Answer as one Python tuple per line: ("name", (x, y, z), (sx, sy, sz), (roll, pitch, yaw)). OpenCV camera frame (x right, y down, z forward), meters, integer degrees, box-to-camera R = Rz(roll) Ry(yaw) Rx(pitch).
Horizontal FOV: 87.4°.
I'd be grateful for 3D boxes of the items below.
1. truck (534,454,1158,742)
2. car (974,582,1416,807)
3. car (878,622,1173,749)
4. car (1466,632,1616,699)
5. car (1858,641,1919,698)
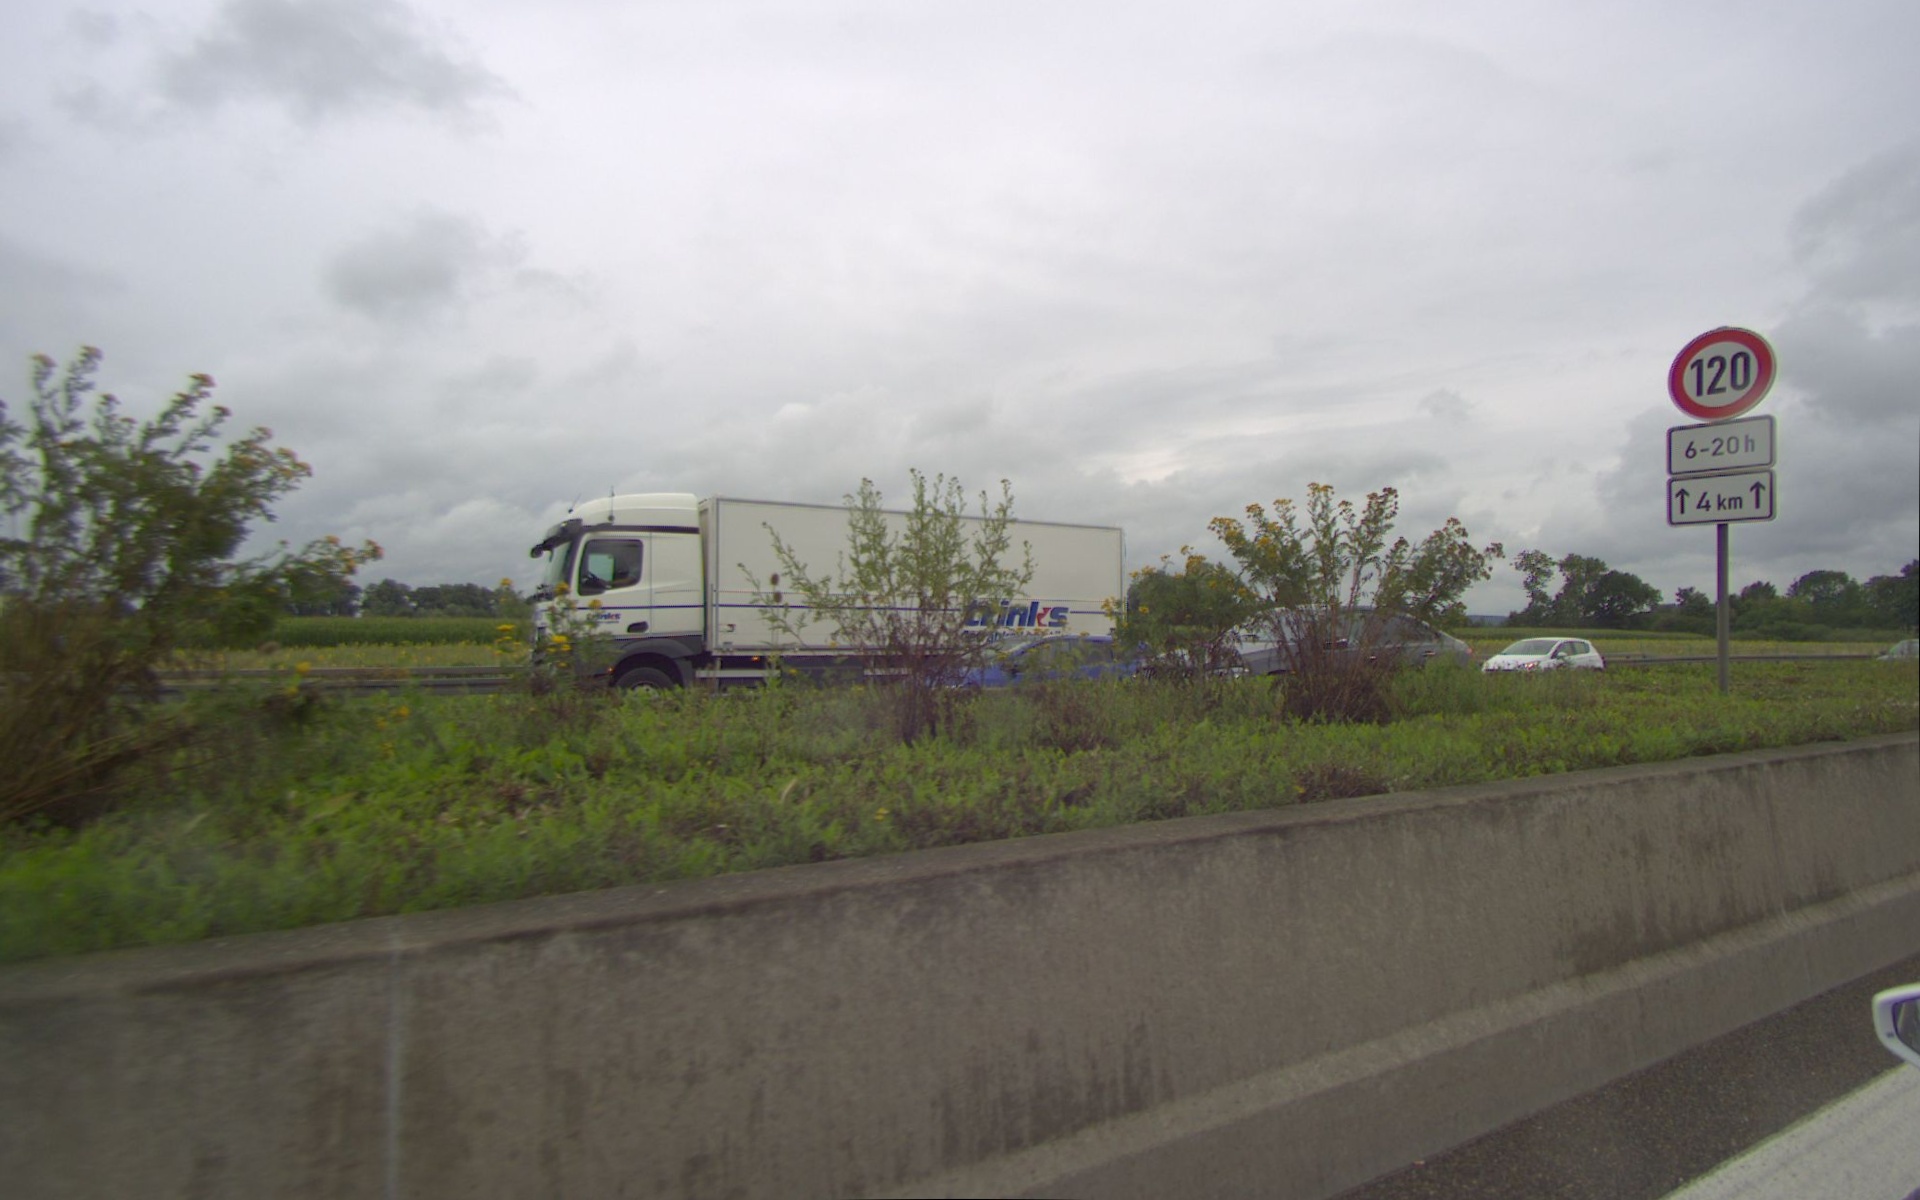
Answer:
("truck", (-1.684, 0.106, 18.014), (10.677, 4.020, 3.170), (2, 0, -29))
("car", (2.697, 0.928, 11.200), (4.779, 2.040, 1.984), (1, -2, -30))
("car", (0.988, 1.142, 14.615), (3.953, 1.617, 1.858), (1, -2, -30))
("car", (16.550, 1.836, 28.586), (3.953, 1.706, 1.984), (2, 0, -30))
("car", (30.340, 2.174, 31.701), (3.953, 1.674, 1.807), (2, 0, -30))
